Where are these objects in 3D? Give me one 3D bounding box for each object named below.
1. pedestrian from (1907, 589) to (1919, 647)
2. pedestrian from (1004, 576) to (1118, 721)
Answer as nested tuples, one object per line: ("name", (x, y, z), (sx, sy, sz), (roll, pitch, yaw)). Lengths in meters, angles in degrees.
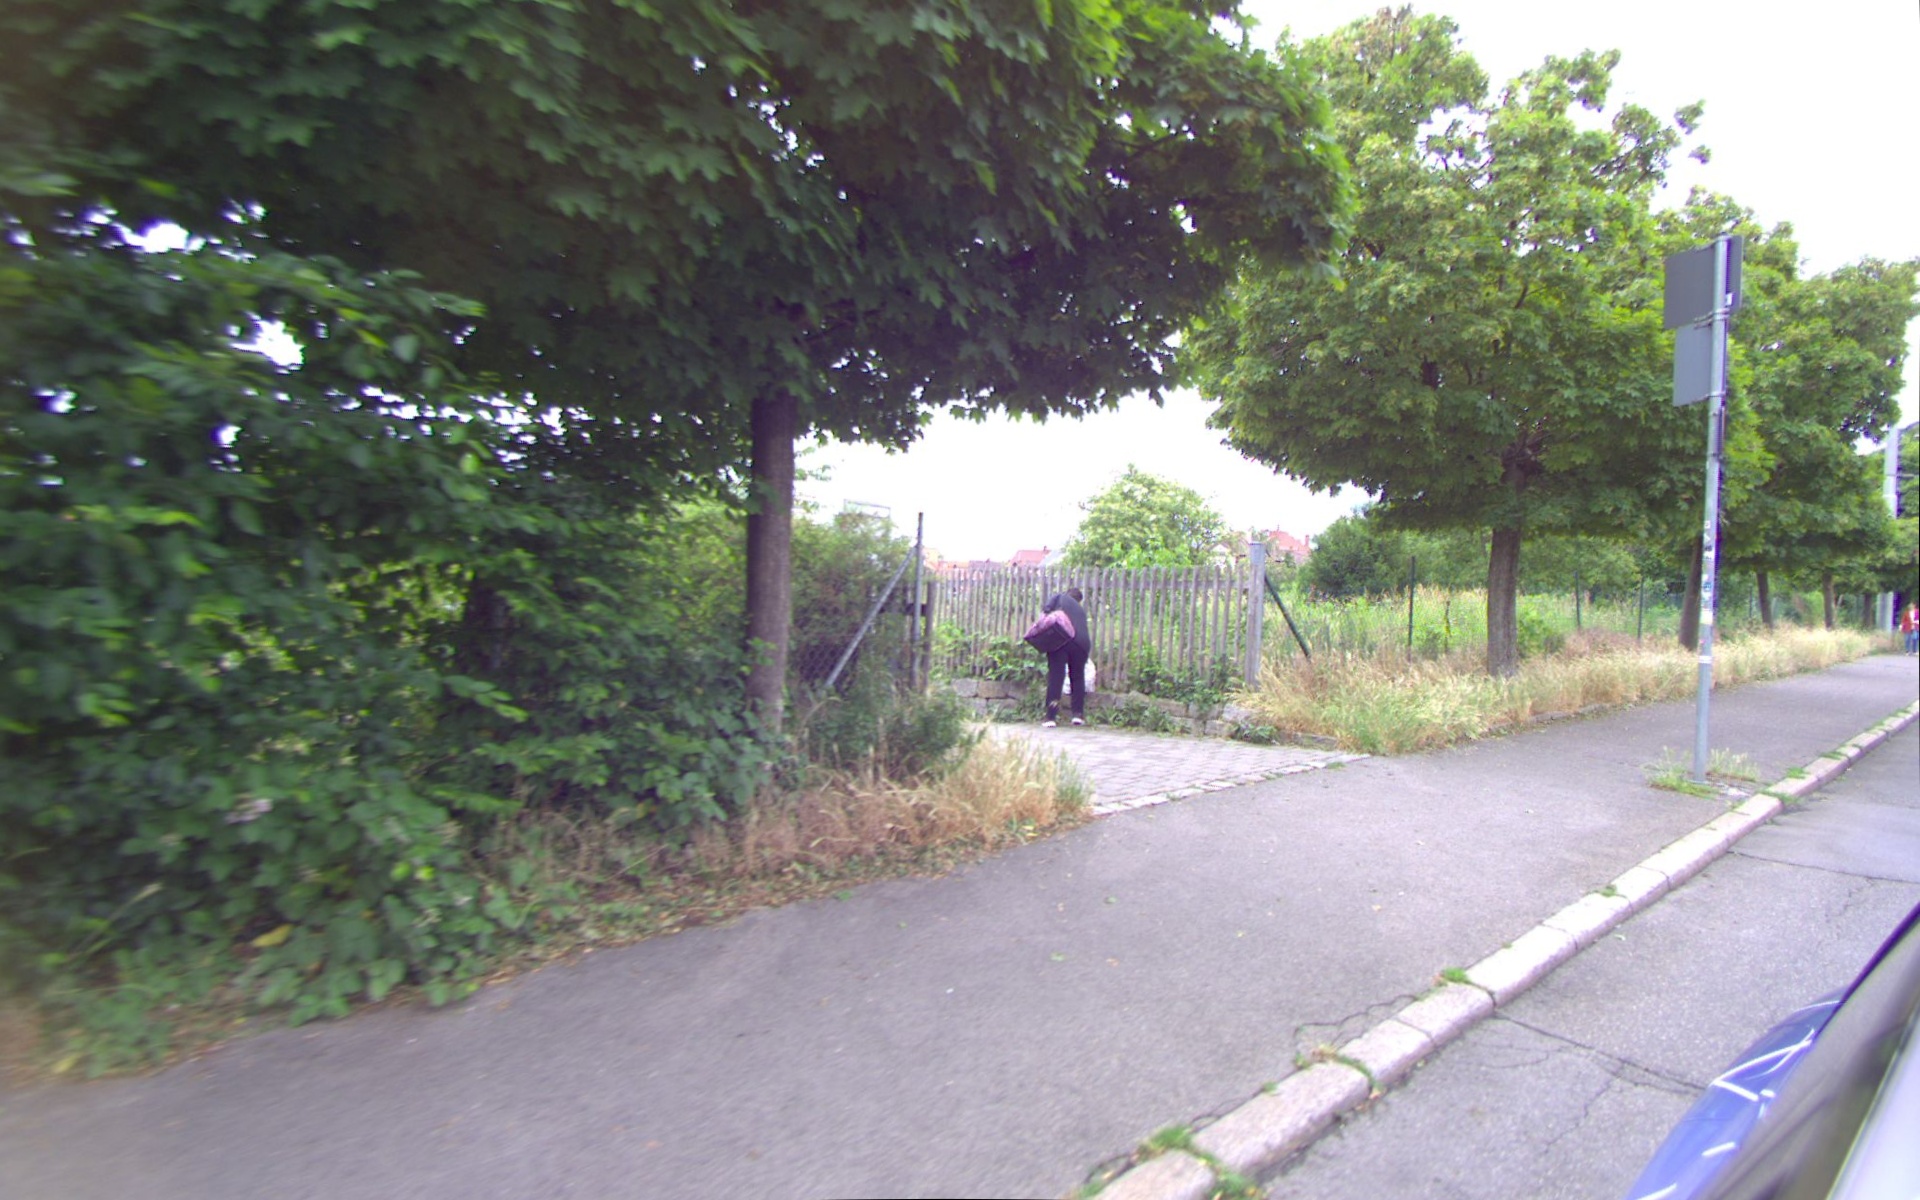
("pedestrian", (27.637, 0.509, 28.925), (0.706, 1.640, 0.716), (0, 2, -41))
("pedestrian", (0.984, 0.441, 9.928), (0.794, 1.324, 0.746), (0, 2, -40))
